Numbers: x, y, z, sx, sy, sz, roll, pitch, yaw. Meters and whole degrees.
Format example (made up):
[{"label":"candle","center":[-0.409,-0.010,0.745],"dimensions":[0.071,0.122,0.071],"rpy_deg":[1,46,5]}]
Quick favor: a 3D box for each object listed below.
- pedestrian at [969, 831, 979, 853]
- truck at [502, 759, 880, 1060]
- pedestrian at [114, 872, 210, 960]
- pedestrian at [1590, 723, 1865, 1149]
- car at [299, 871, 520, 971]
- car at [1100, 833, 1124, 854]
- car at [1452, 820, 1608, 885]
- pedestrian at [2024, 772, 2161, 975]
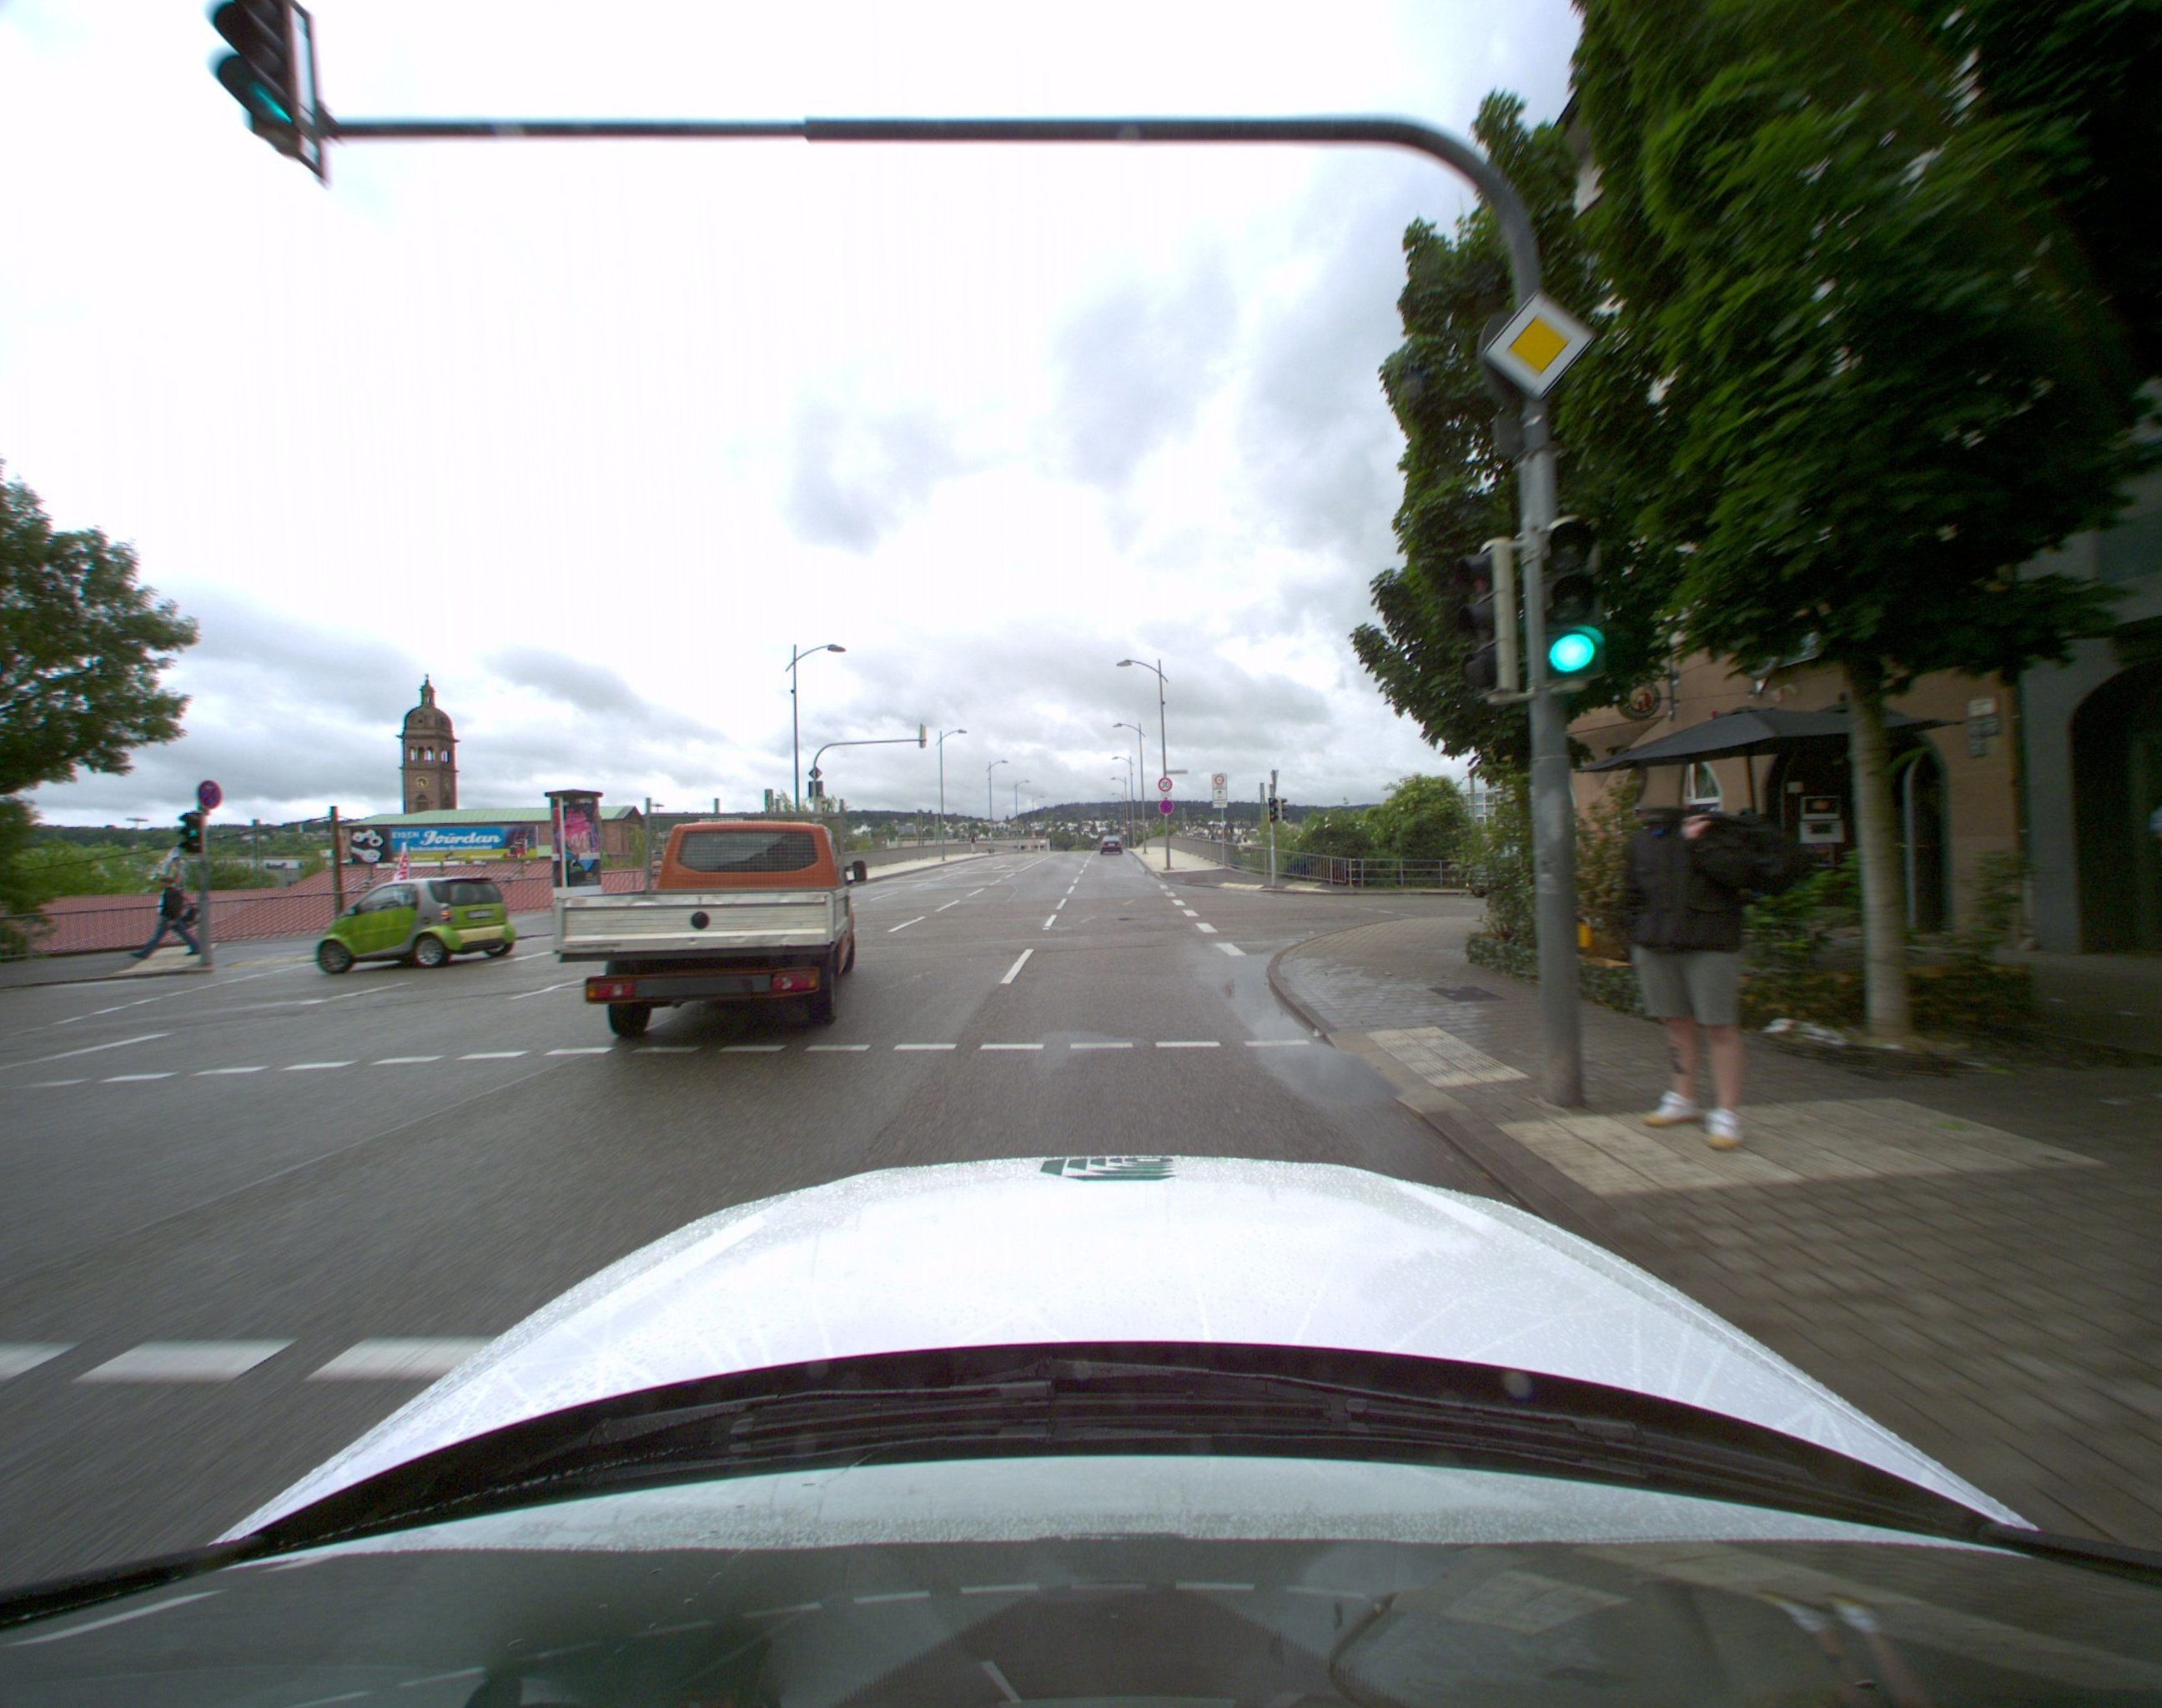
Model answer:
[{"label":"pedestrian","center":[-10.126,-1.172,77.245],"dimensions":[0.753,2.048,0.892],"rpy_deg":[-2,-1,1]},{"label":"truck","center":[-3.520,0.411,8.732],"dimensions":[2.402,2.129,5.292],"rpy_deg":[-2,-1,-12]},{"label":"pedestrian","center":[-19.598,1.290,17.397],"dimensions":[1.076,1.757,1.052],"rpy_deg":[-2,-1,-33]},{"label":"pedestrian","center":[3.037,0.359,3.898],"dimensions":[0.730,1.841,0.631],"rpy_deg":[-2,-1,0]},{"label":"car","center":[-11.783,1.147,14.394],"dimensions":[2.643,1.547,1.534],"rpy_deg":[-3,-1,6]},{"label":"car","center":[2.355,-0.753,62.512],"dimensions":[1.747,1.479,4.002],"rpy_deg":[-2,-1,2]},{"label":"car","center":[14.822,-0.039,26.882],"dimensions":[4.761,2.014,1.986],"rpy_deg":[0,0,-22]},{"label":"pedestrian","center":[8.521,0.145,6.690],"dimensions":[0.641,1.571,0.726],"rpy_deg":[-2,-1,4]}]
